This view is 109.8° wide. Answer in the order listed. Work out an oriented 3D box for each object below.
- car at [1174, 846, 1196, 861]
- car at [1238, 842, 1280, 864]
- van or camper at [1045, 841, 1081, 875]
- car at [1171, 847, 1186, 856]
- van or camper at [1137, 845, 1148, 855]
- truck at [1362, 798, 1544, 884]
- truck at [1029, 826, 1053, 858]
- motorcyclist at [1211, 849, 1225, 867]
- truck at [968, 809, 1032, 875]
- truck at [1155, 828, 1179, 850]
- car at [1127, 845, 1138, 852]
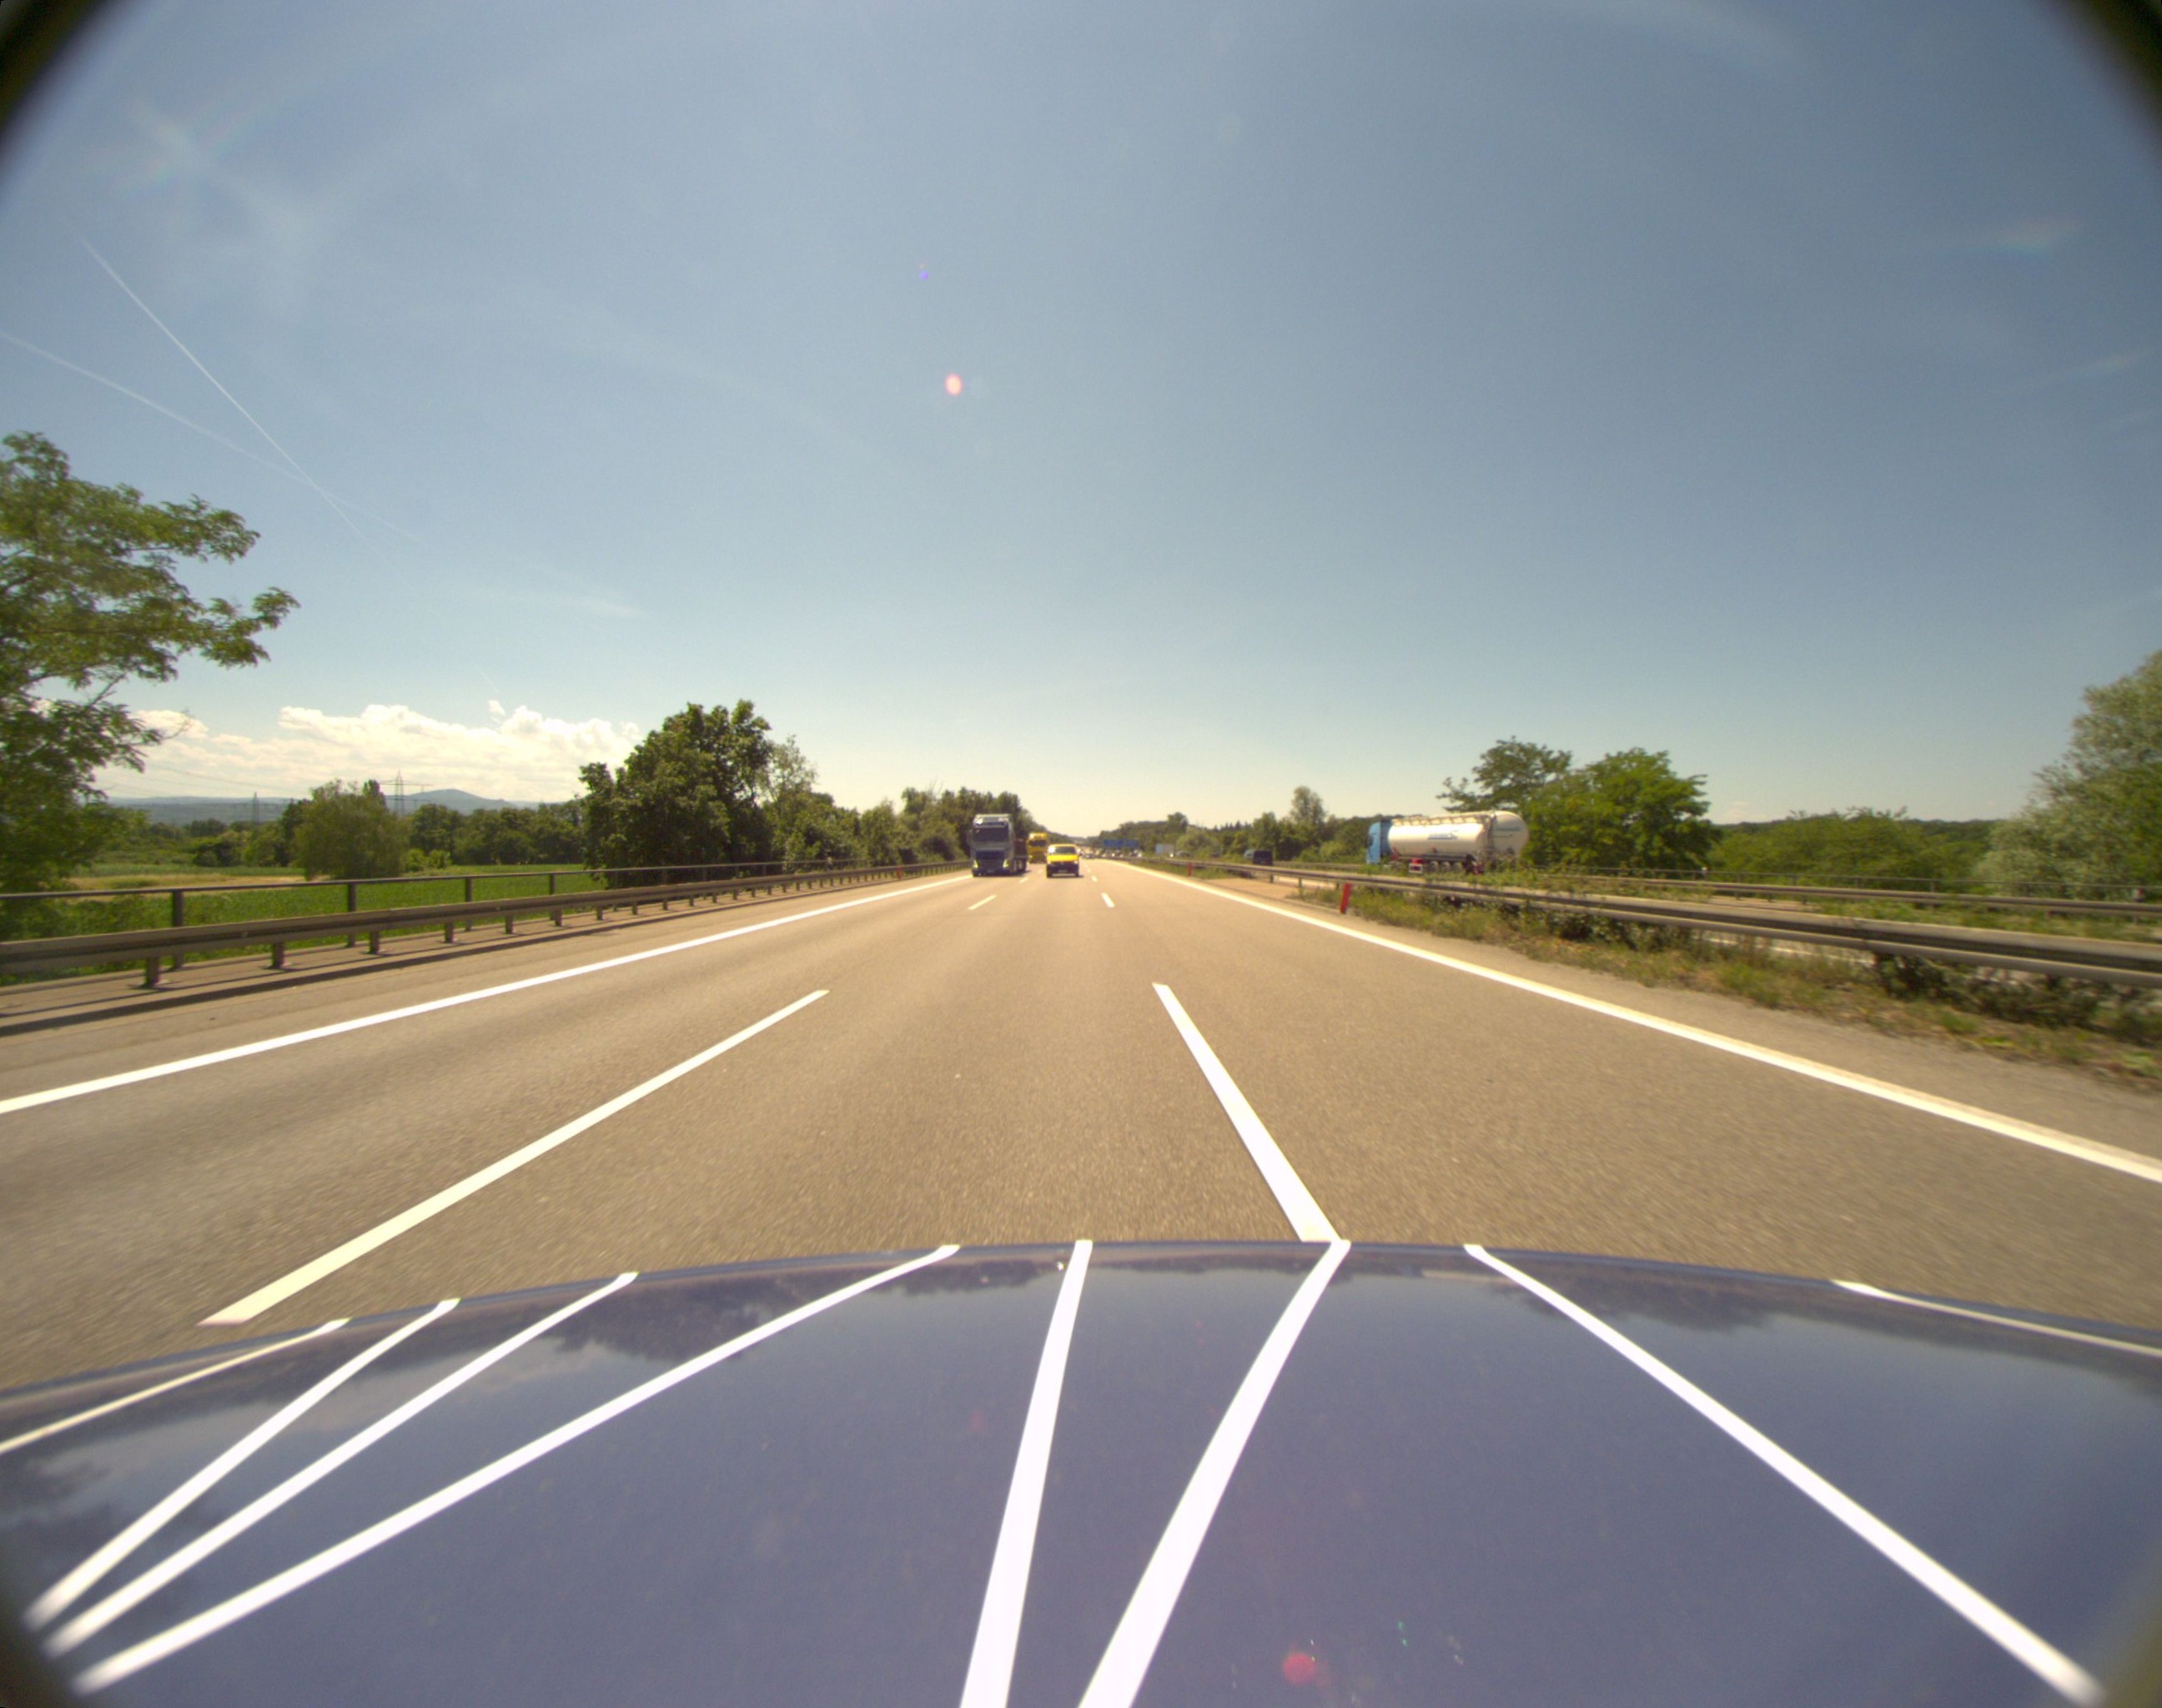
[{"bbox_3d":[12.307,-0.061,89.909,1.998,1.720,4.092,1,1,0],"label":"car"},{"bbox_3d":[16.105,-0.088,69.025,2.419,1.907,5.782,1,1,0],"label":"car"},{"bbox_3d":[-1.052,0.219,45.310,1.999,1.898,4.970,-1,0,-1],"label":"van or camper"},{"bbox_3d":[16.660,-0.425,130.286,1.999,1.608,3.999,1,1,-1],"label":"car"},{"bbox_3d":[16.245,-1.087,200.592,1.999,2.551,7.033,3,1,-1],"label":"van or camper"},{"bbox_3d":[20.570,-0.767,43.989,2.736,4.030,15.932,0,1,0],"label":"truck"},{"bbox_3d":[-5.578,-1.686,108.407,2.852,4.233,16.787,0,1,-1],"label":"truck"},{"bbox_3d":[11.865,0.314,65.825,0.974,1.512,1.334,2,1,-1],"label":"motorcyclist"},{"bbox_3d":[-5.465,-0.825,54.600,2.977,3.934,16.608,-1,1,-1],"label":"truck"},{"bbox_3d":[19.957,-3.431,177.325,3.234,4.693,16.856,3,1,-1],"label":"truck"},{"bbox_3d":[11.459,-1.232,170.137,1.998,1.720,5.107,1,1,0],"label":"car"}]
